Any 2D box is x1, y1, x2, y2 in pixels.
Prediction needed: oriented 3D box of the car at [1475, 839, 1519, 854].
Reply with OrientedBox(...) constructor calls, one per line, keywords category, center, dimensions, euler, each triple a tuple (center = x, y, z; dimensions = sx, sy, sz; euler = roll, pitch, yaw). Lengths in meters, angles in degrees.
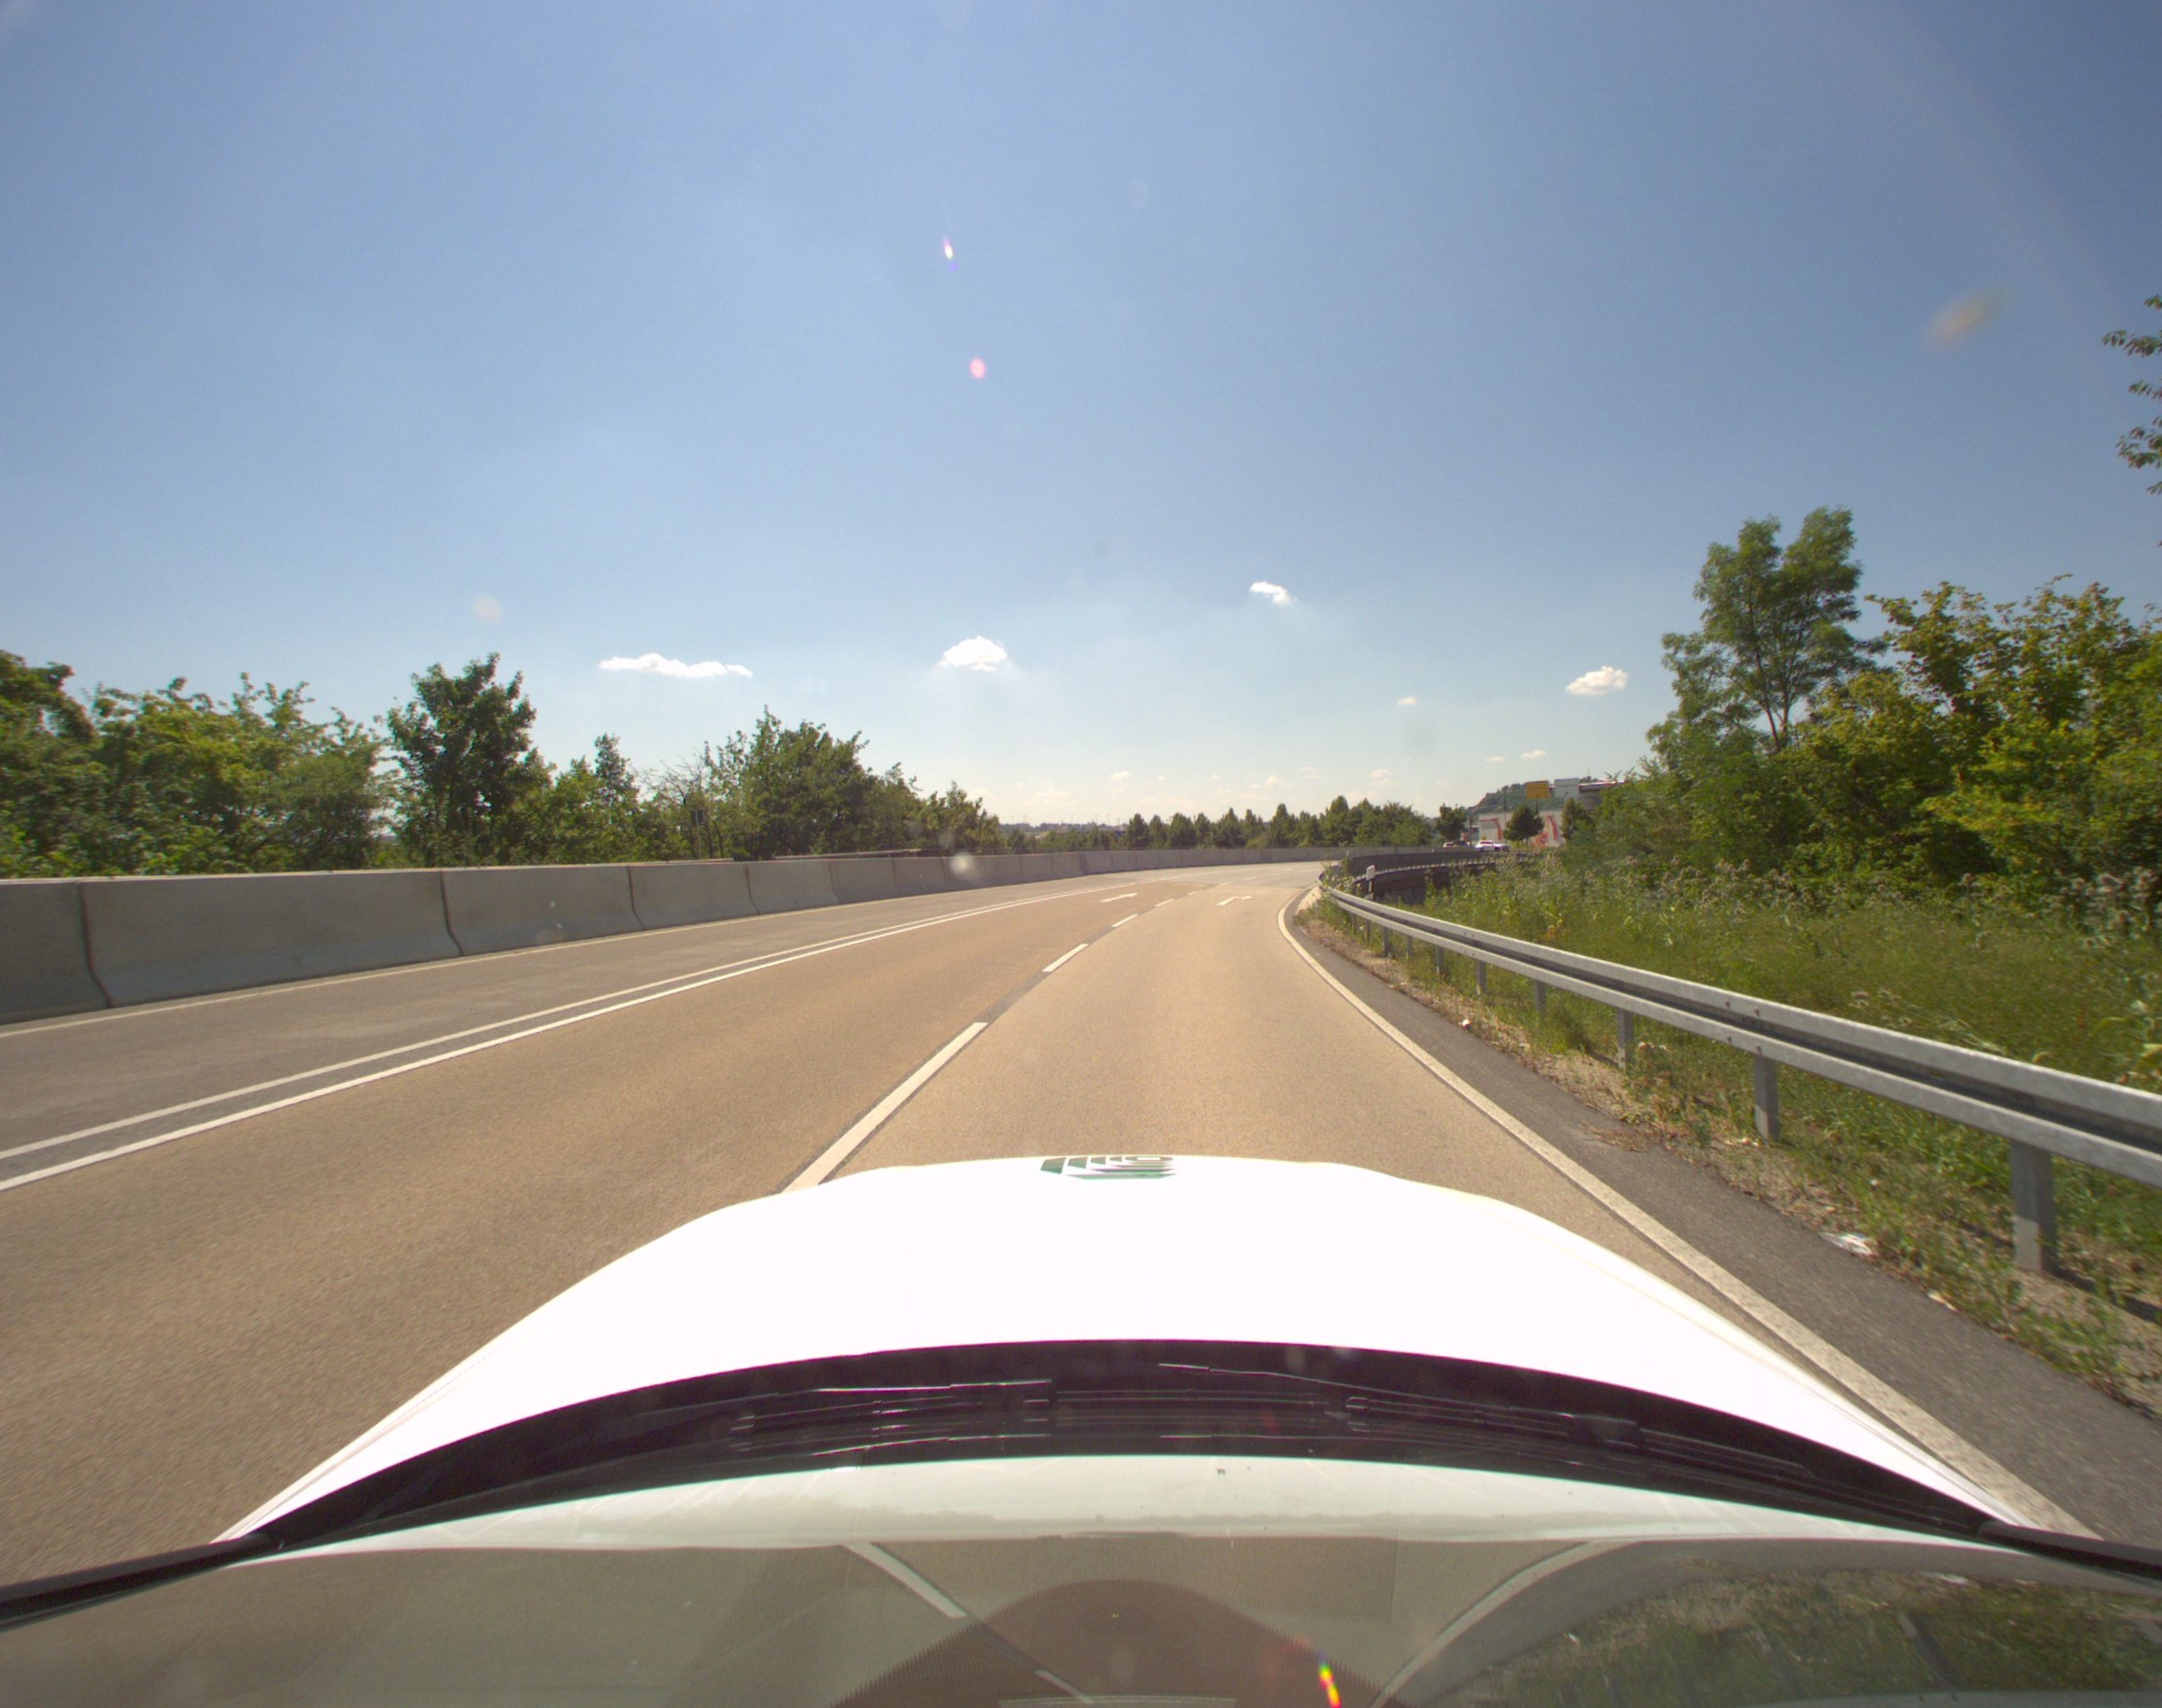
OrientedBox(category="car", center=(55.378, -0.993, 108.501), dimensions=(2.111, 1.965, 4.810), euler=(0, 1, -37))
